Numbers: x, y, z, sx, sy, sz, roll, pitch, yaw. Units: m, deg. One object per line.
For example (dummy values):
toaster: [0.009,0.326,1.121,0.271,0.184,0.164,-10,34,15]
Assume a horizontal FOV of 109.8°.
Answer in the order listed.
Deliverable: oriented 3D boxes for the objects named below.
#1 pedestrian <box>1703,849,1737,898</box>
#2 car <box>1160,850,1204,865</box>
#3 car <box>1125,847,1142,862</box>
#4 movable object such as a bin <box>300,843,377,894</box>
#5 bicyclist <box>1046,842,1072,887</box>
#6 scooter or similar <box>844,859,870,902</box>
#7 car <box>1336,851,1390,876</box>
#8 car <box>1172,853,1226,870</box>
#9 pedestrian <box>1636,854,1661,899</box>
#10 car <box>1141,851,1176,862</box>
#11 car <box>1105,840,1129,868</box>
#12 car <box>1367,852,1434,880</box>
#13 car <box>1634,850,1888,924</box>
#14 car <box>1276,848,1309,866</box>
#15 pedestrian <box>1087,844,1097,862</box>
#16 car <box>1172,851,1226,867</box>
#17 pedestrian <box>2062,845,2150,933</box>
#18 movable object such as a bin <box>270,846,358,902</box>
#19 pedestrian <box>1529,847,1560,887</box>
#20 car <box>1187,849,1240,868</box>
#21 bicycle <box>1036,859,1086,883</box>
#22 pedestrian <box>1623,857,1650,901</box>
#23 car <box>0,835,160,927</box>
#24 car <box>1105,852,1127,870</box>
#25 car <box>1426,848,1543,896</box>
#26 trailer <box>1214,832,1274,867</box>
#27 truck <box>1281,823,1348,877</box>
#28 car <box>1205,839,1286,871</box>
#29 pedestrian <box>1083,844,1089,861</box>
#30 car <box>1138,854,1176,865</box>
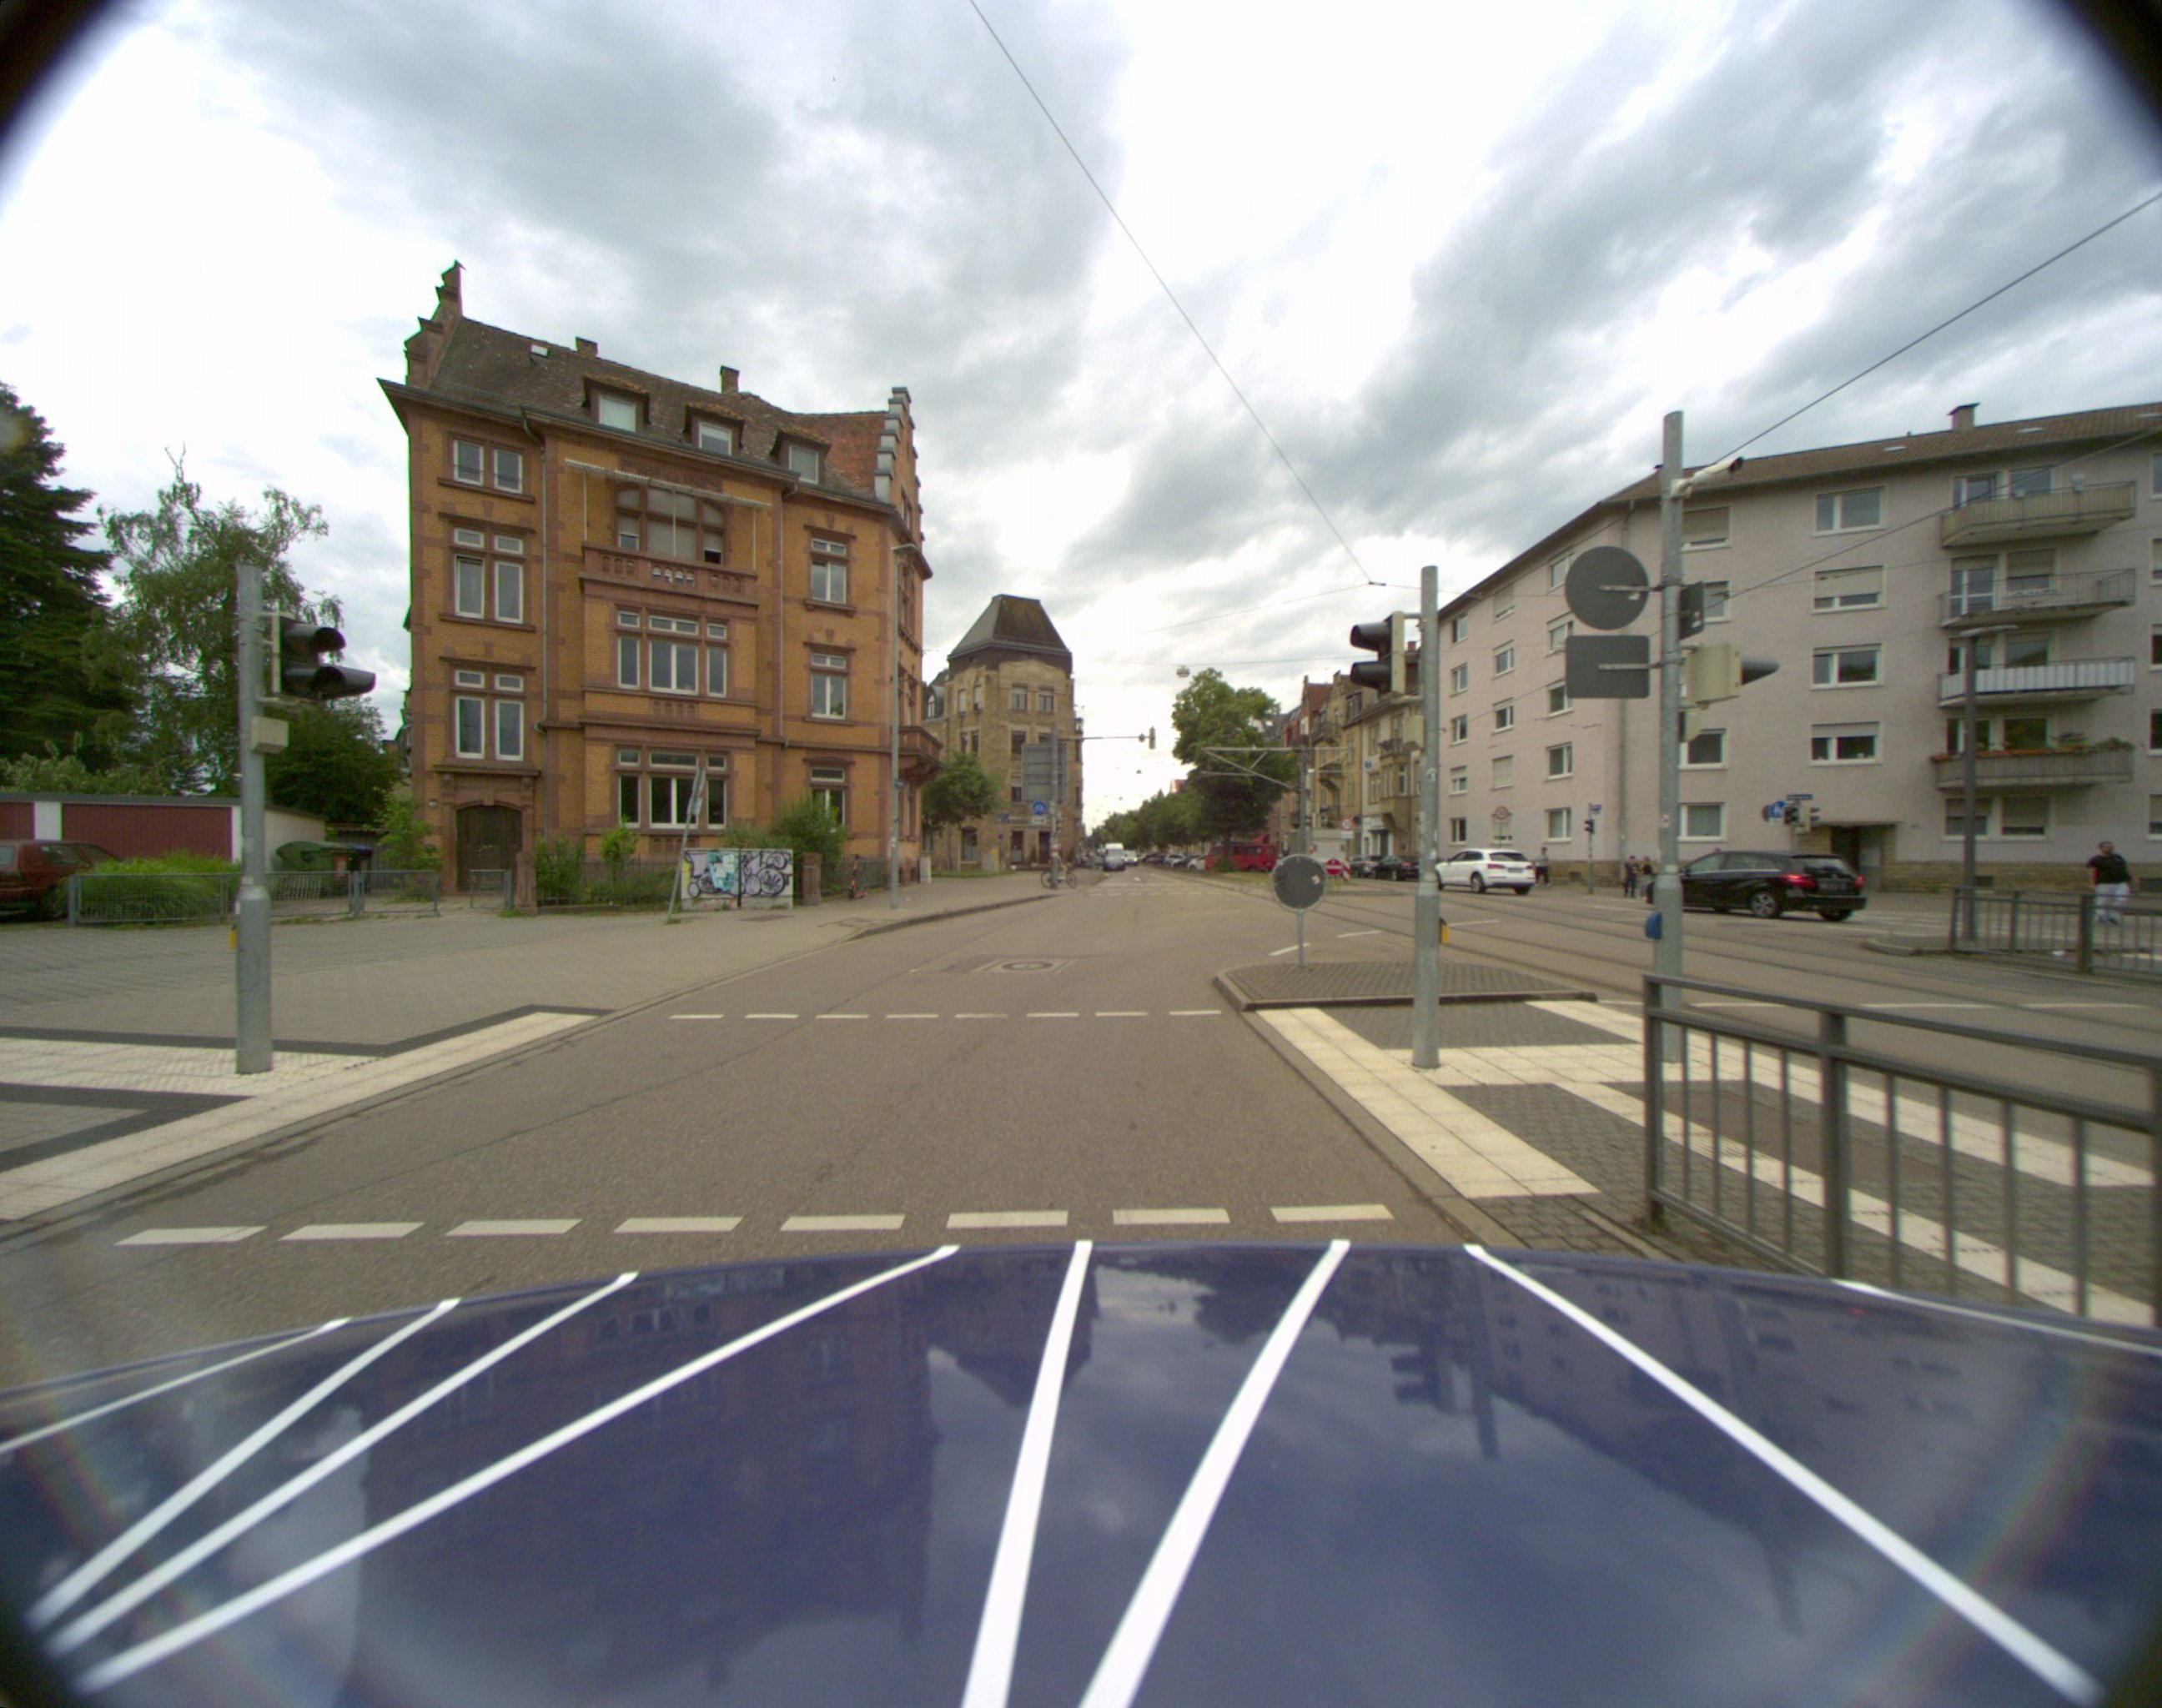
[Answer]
pedestrian: [23.896,0.724,28.410,0.721,1.803,0.684,0,1,16]
car: [10.282,0.320,77.527,4.105,1.475,1.801,0,1,41]
car: [6.249,0.039,90.677,1.828,1.661,5.043,-1,1,1]
movable object such as a bin: [-21.193,0.391,21.740,1.161,1.382,1.459,-1,1,-27]
bicyclist: [-0.894,0.423,31.101,0.683,1.785,0.889,-1,1,-31]
scooter or similar: [-6.091,0.709,20.691,0.377,1.134,1.199,0,1,-2]
car: [17.737,0.573,48.031,1.639,1.434,4.569,0,1,-1]
car: [10.384,0.609,66.894,4.327,1.426,1.903,1,1,42]
pedestrian: [19.921,0.794,26.670,0.535,1.549,0.569,-1,2,-43]
car: [10.823,0.297,105.978,4.528,1.482,2.040,1,2,44]
car: [3.432,-0.015,73.923,2.018,2.534,7.016,-2,1,1]
car: [17.799,0.608,42.586,1.639,1.434,4.761,0,1,-1]
car: [15.715,0.671,17.984,1.775,1.484,4.535,0,1,-3]
car: [18.133,0.234,65.334,1.639,1.434,3.922,0,1,-1]
pedestrian: [1.060,-0.077,73.881,0.865,1.690,0.537,2,1,-14]
car: [10.929,0.480,70.497,4.674,1.426,1.903,0,1,39]
pedestrian: [22.663,0.738,16.826,0.833,1.864,1.048,1,1,36]
movable object such as a bin: [-19.790,0.487,19.654,1.161,1.382,1.459,-1,1,-27]
pedestrian: [20.677,0.552,33.886,0.799,1.756,0.900,0,1,-1]
car: [10.548,0.315,60.487,3.852,1.454,1.693,1,1,42]
bicycle: [-0.808,0.683,30.926,1.871,0.918,0.794,-1,1,-32]
pedestrian: [19.972,0.892,27.332,0.570,1.549,0.534,1,1,10]
car: [-19.040,0.417,13.767,1.694,1.444,3.477,0,2,-27]
car: [3.039,0.579,67.212,1.828,1.442,5.006,-1,1,1]
car: [14.989,0.611,28.551,1.775,1.630,4.535,0,1,-3]
trailer: [11.345,-0.310,52.949,3.660,2.331,1.935,1,1,33]
truck: [14.701,-0.288,48.357,2.190,3.139,7.331,0,1,2]
car: [10.712,0.047,49.721,4.754,1.963,1.964,1,1,38]
pedestrian: [0.497,-0.152,75.096,0.509,1.707,0.580,2,1,-10]
car: [9.497,0.675,95.396,4.654,1.360,1.761,0,1,43]
